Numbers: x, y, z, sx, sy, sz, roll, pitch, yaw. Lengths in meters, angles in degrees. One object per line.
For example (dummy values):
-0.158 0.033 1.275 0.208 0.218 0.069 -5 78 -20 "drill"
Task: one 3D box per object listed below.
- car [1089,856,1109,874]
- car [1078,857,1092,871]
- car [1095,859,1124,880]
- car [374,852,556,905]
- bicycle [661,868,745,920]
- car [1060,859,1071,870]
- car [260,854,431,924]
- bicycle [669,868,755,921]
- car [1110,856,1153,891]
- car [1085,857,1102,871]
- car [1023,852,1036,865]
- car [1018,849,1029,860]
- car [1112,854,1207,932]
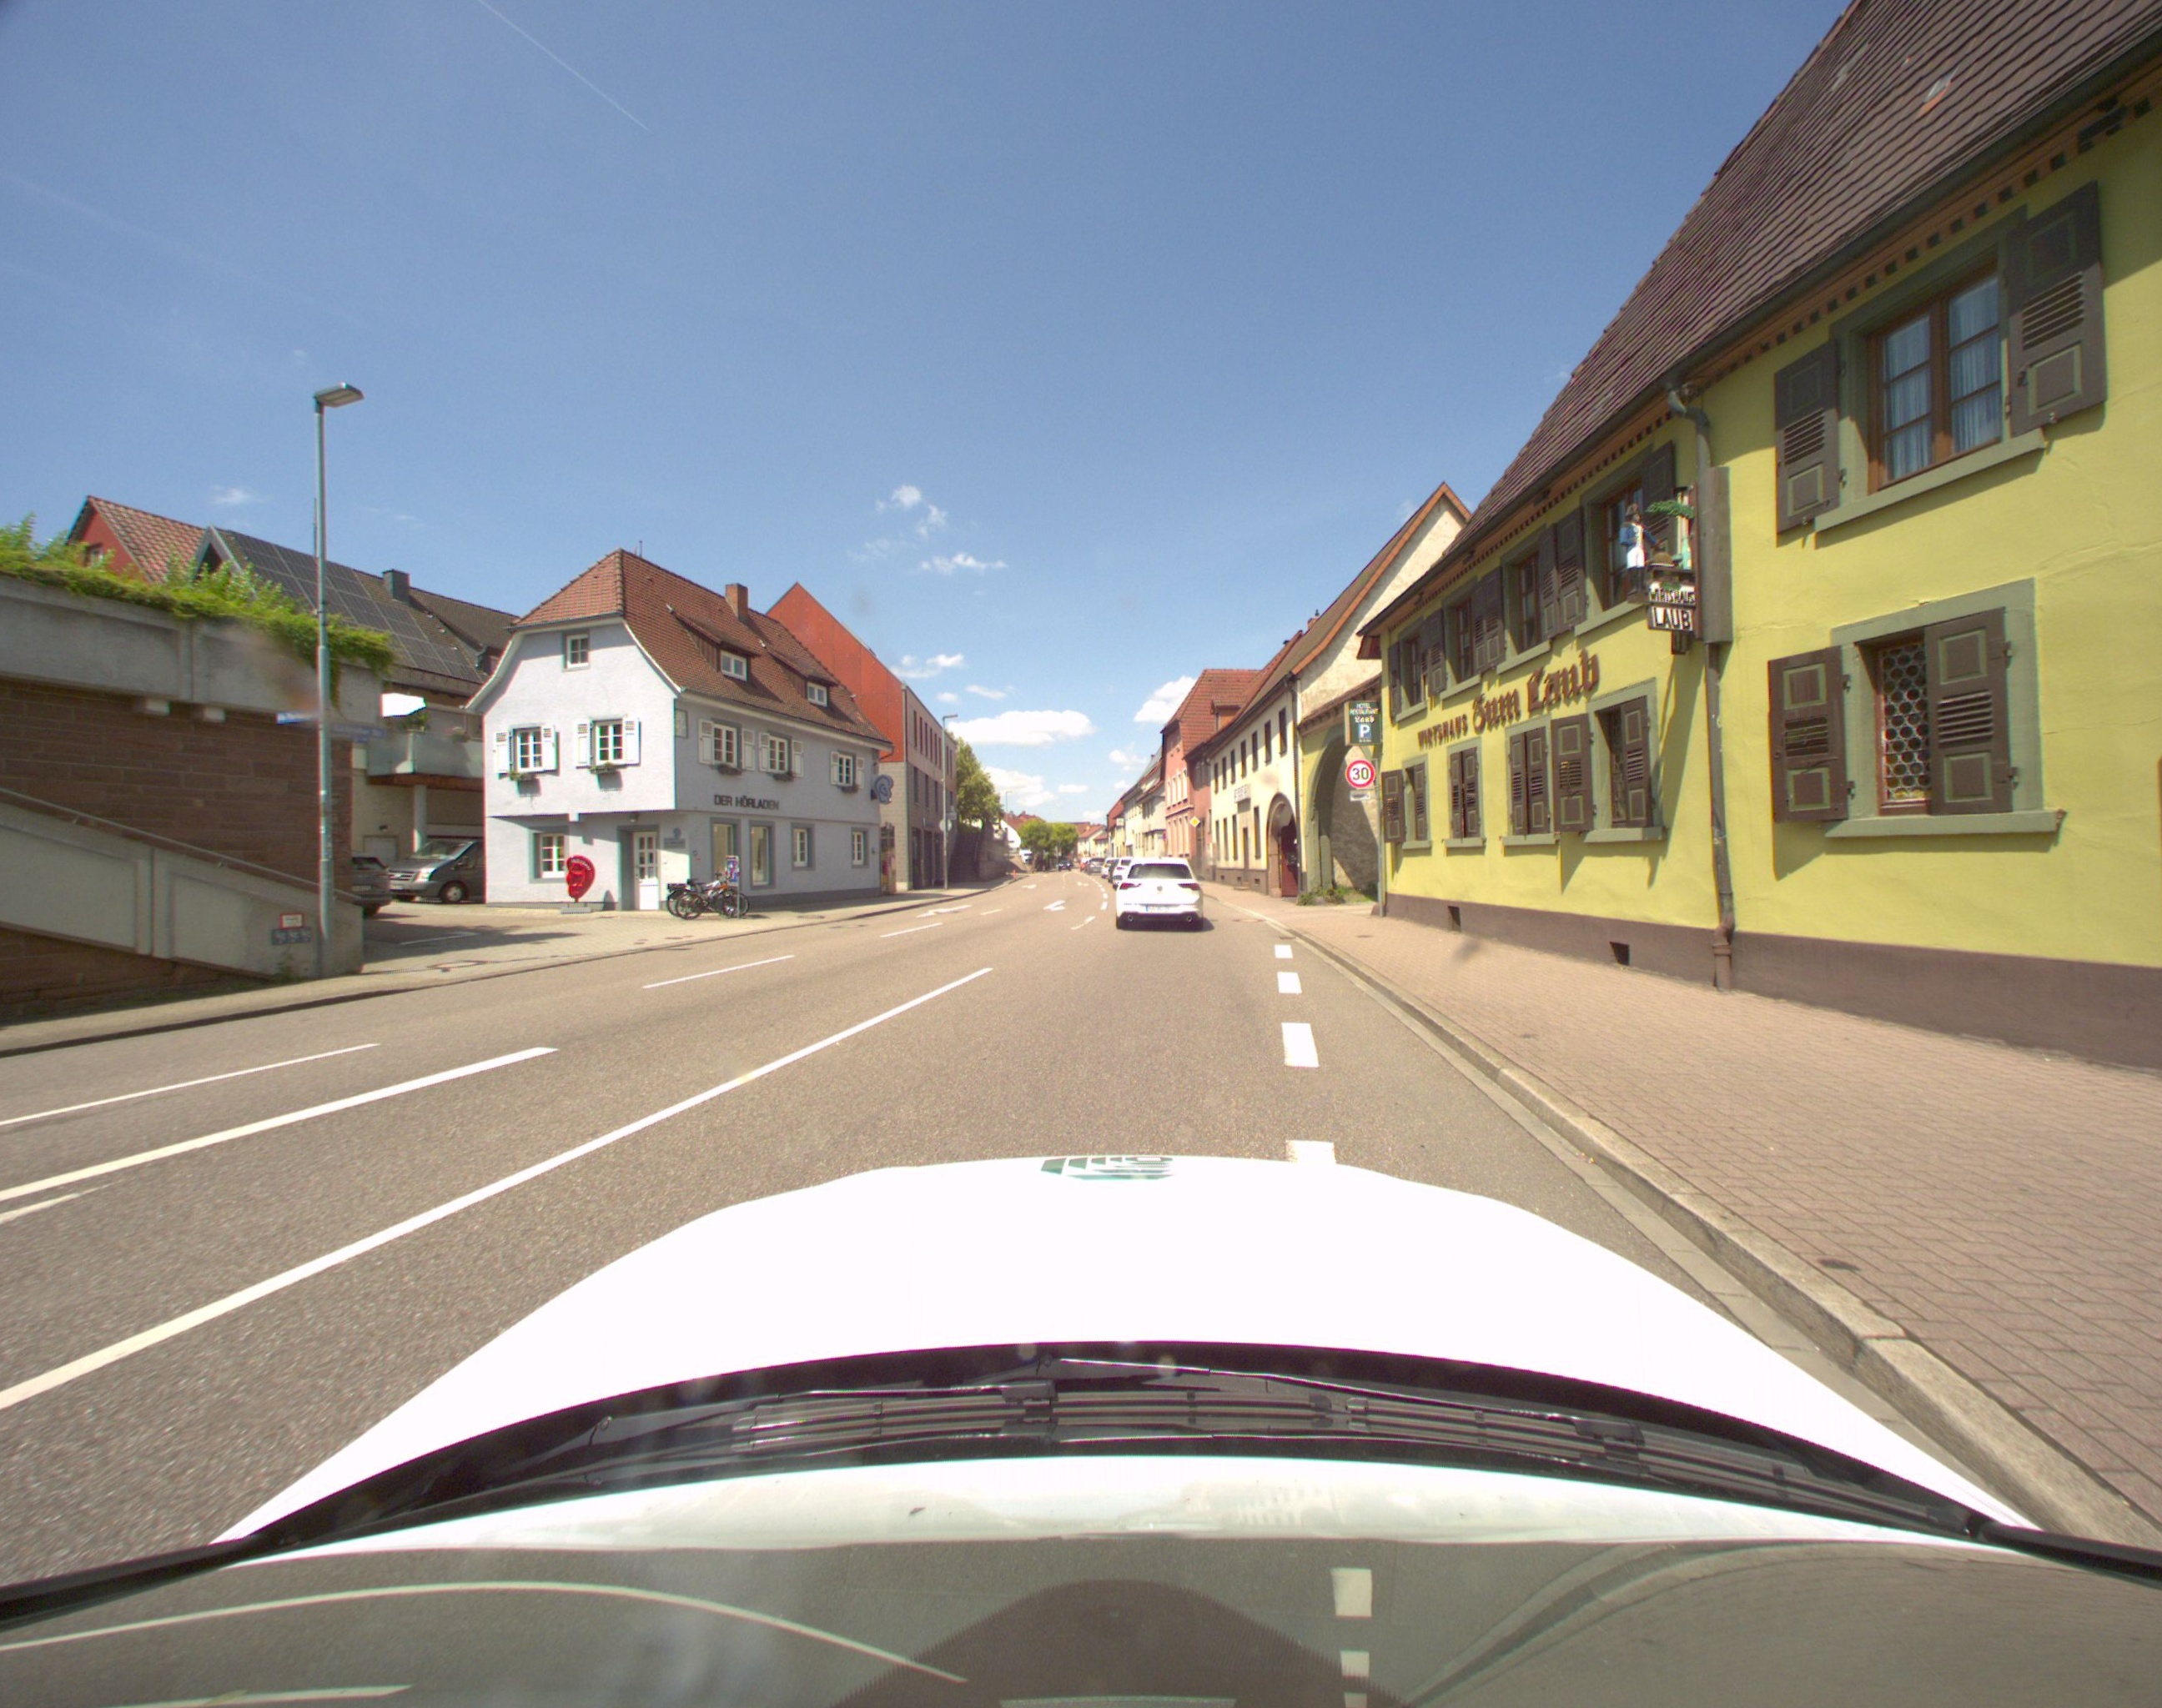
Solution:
1.596 1.018 73.920 1.770 1.538 3.999 -1 -1 0 "car"
0.494 1.304 106.650 1.770 1.765 3.998 -1 -1 -1 "car"
2.012 1.092 58.943 1.803 1.468 3.996 1 -1 -2 "car"
-18.626 0.696 24.829 1.842 1.483 4.023 -1 -1 26 "car"
-9.615 1.002 20.751 1.839 1.249 0.572 1 1 -37 "bicycle"
-2.294 1.589 121.404 1.665 1.657 4.015 -1 -1 -1 "car"
-17.901 0.771 19.797 3.949 1.520 1.998 0 1 31 "car"
-9.173 0.996 20.280 1.839 1.249 0.572 1 1 -37 "bicycle"
2.216 0.853 36.552 1.801 1.468 4.002 0 -1 2 "car"
1.355 1.135 90.891 1.770 1.538 3.999 -1 -1 0 "car"
-7.487 0.586 118.422 1.689 1.542 3.854 -1 5 -3 "car"
-9.126 0.122 129.744 1.573 1.361 3.854 -1 5 -3 "car"
1.642 0.770 17.577 1.800 1.468 4.004 0 -1 4 "car"
